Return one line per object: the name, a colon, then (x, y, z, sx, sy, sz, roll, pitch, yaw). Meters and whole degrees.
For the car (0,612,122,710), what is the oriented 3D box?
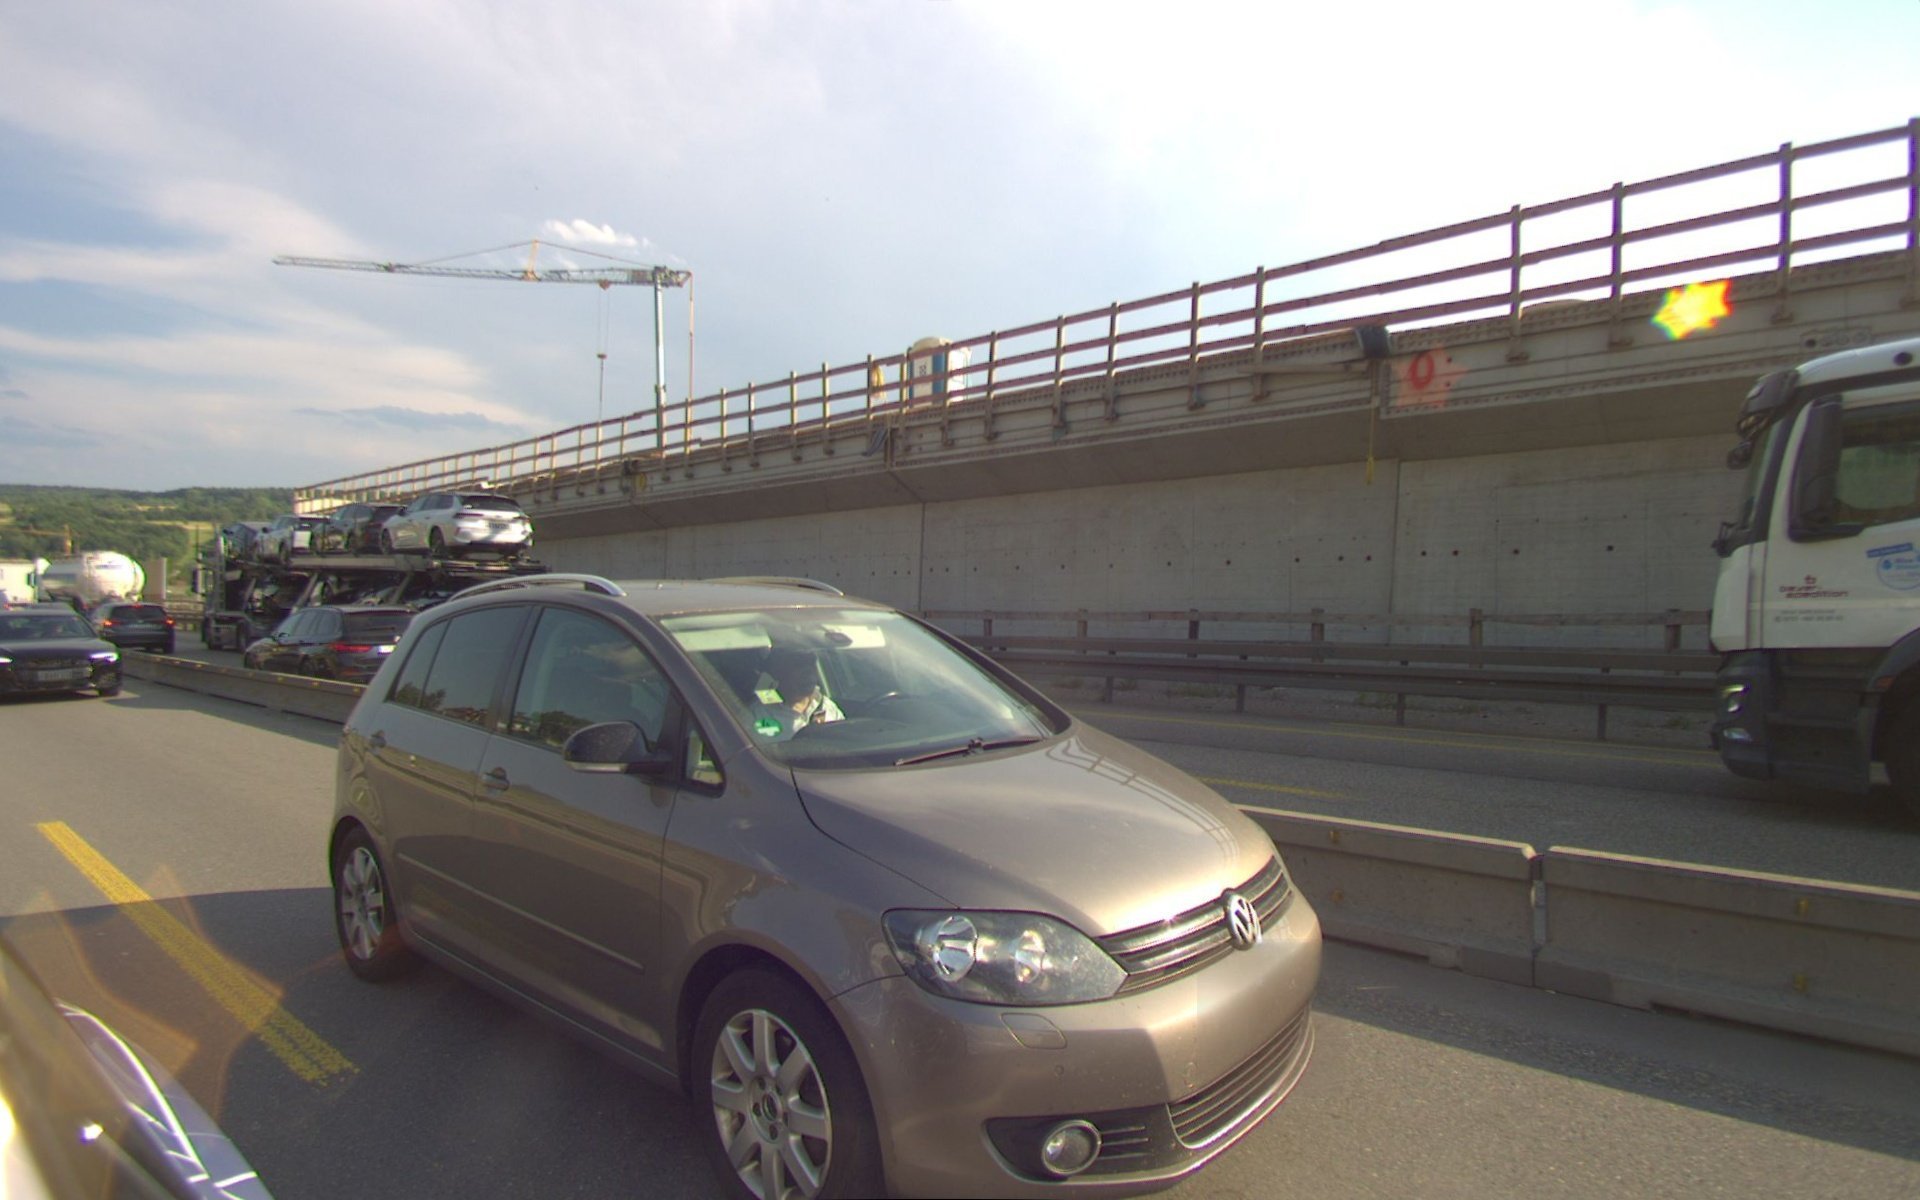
car: (-15.703, 0.934, 16.981, 4.347, 1.430, 1.849, 0, 0, 41)

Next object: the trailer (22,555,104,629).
trailer: (-50.060, -0.433, 56.442, 6.427, 3.879, 2.625, 0, 0, 41)

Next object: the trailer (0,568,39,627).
trailer: (-70.964, -0.201, 74.979, 13.774, 4.067, 2.894, 0, 0, 43)

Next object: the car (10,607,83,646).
car: (-36.720, 1.023, 40.630, 4.598, 1.456, 1.691, 0, 0, 42)

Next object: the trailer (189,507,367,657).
trailer: (-20.822, -0.497, 30.709, 7.205, 4.061, 2.742, 0, 0, 41)

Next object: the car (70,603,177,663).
car: (-24.571, 0.906, 29.678, 4.337, 1.589, 1.738, 0, 0, 41)

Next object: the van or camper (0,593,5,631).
van or camper: (-53.587, 0.651, 55.000, 5.291, 2.029, 1.839, 0, 0, 40)

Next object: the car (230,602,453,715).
car: (-10.193, 0.832, 16.508, 4.834, 1.563, 1.747, 0, 0, 41)

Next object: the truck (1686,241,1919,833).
truck: (7.633, -0.372, 5.752, 5.528, 3.435, 2.522, 0, 0, 41)

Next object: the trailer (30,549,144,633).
trailer: (-45.334, -0.428, 52.329, 13.437, 3.879, 2.625, 0, 0, 41)

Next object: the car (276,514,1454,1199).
car: (-0.779, 0.659, 3.579, 4.269, 1.600, 1.663, 1, 0, 41)

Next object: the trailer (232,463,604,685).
trailer: (-14.064, -0.491, 24.824, 15.757, 4.061, 2.742, 0, 0, 42)
